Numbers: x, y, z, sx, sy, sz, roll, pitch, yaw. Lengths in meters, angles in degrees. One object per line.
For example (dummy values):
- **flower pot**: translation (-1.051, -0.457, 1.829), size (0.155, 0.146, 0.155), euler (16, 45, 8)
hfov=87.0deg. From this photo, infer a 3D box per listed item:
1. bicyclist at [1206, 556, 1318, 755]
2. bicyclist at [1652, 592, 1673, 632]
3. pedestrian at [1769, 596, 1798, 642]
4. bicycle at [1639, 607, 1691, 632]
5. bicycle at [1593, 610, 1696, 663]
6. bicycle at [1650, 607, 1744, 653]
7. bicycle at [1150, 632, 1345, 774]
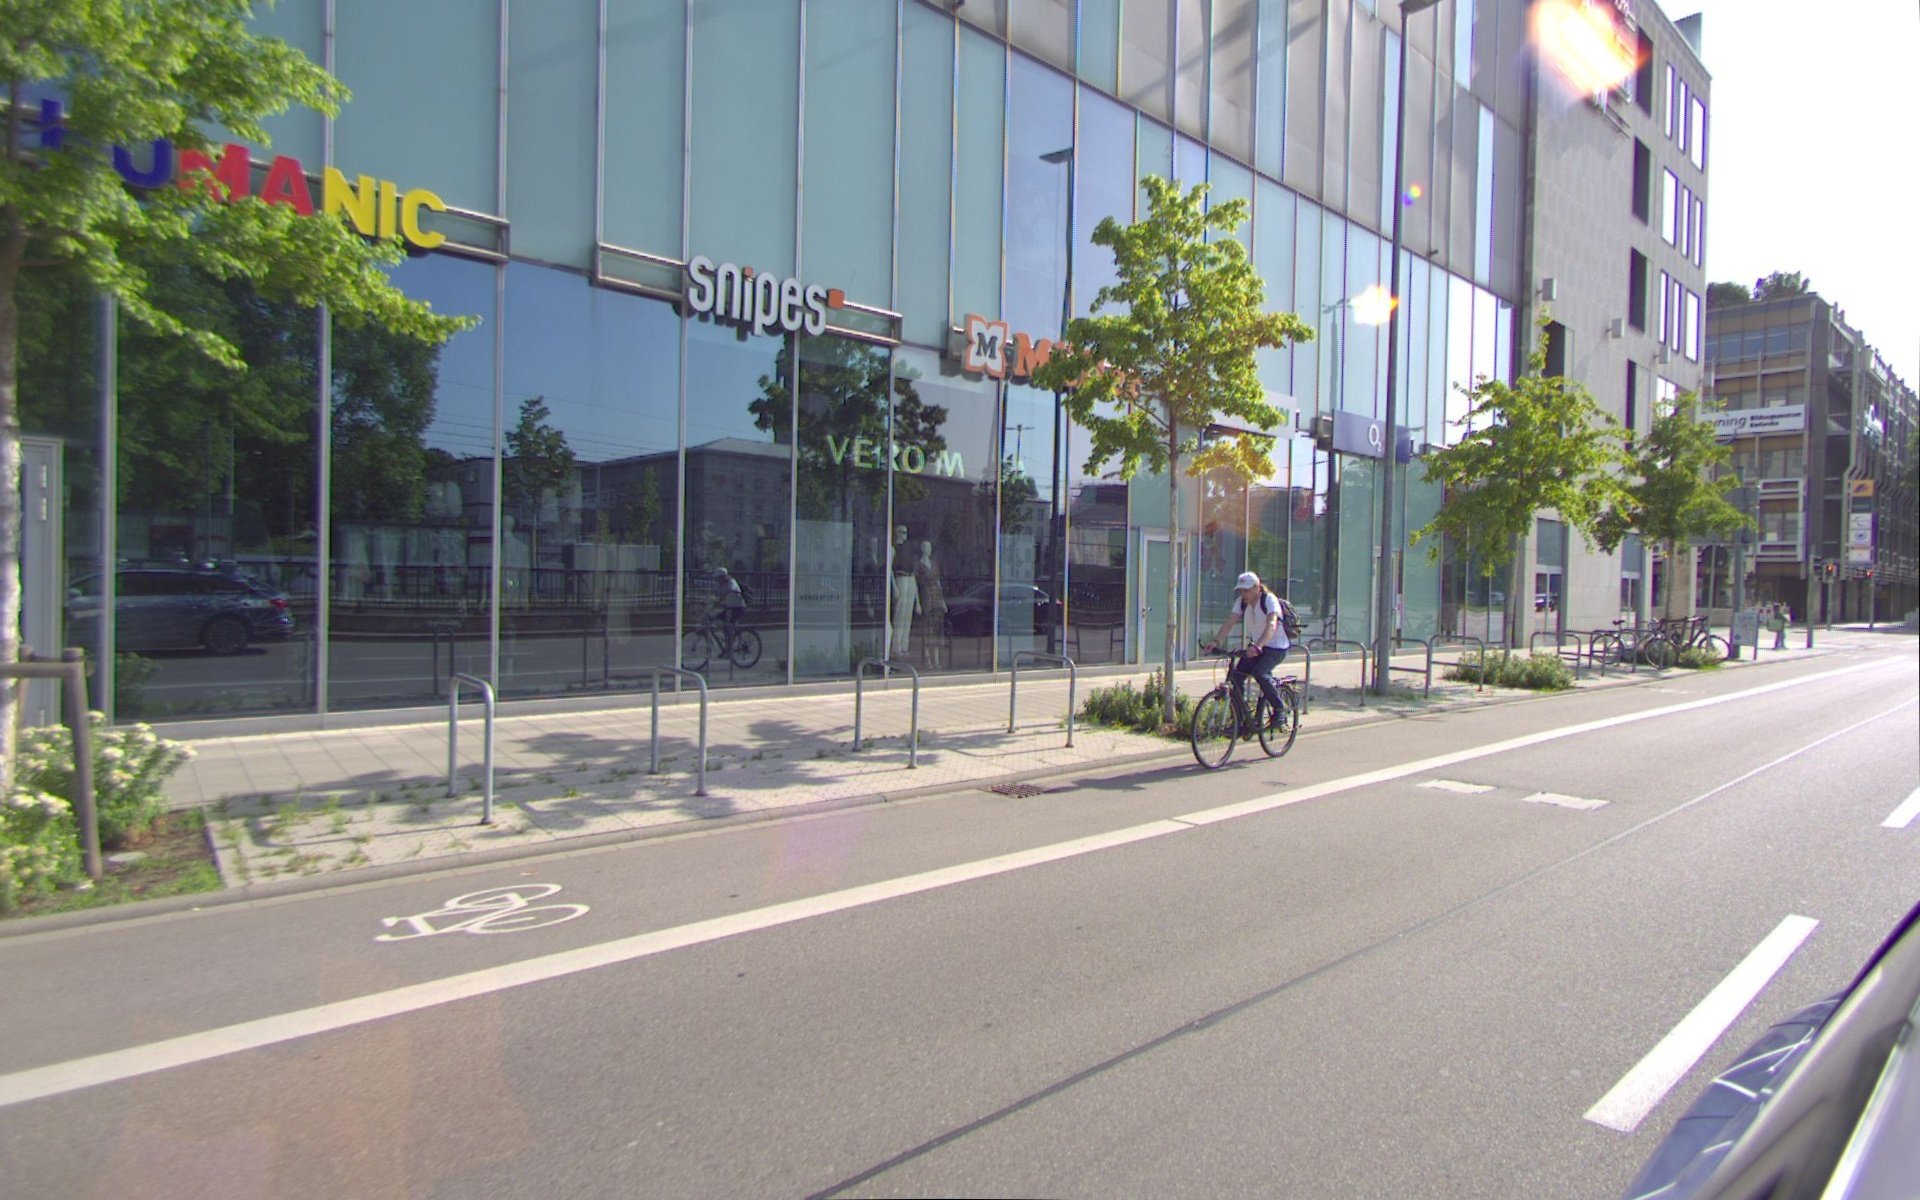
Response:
- **bicyclist**: translation (2.829, 0.484, 9.483), size (0.755, 1.771, 0.653), euler (1, 1, -38)
- **bicyclist**: translation (31.467, 0.525, 45.325), size (0.572, 1.759, 0.636), euler (1, 0, -40)
- **pedestrian**: translation (27.578, 0.621, 33.894), size (0.707, 1.506, 0.595), euler (2, 0, 43)
- **bicycle**: translation (31.517, 0.875, 45.247), size (0.601, 1.030, 1.806), euler (1, 1, -39)
- **bicycle**: translation (15.666, 0.811, 23.195), size (0.481, 1.123, 1.883), euler (1, 1, -38)
- **bicycle**: translation (18.799, 0.743, 25.847), size (0.674, 1.127, 1.844), euler (1, -1, -38)
- **bicycle**: translation (2.700, 0.893, 9.391), size (2.013, 1.131, 0.663), euler (1, 1, -38)
